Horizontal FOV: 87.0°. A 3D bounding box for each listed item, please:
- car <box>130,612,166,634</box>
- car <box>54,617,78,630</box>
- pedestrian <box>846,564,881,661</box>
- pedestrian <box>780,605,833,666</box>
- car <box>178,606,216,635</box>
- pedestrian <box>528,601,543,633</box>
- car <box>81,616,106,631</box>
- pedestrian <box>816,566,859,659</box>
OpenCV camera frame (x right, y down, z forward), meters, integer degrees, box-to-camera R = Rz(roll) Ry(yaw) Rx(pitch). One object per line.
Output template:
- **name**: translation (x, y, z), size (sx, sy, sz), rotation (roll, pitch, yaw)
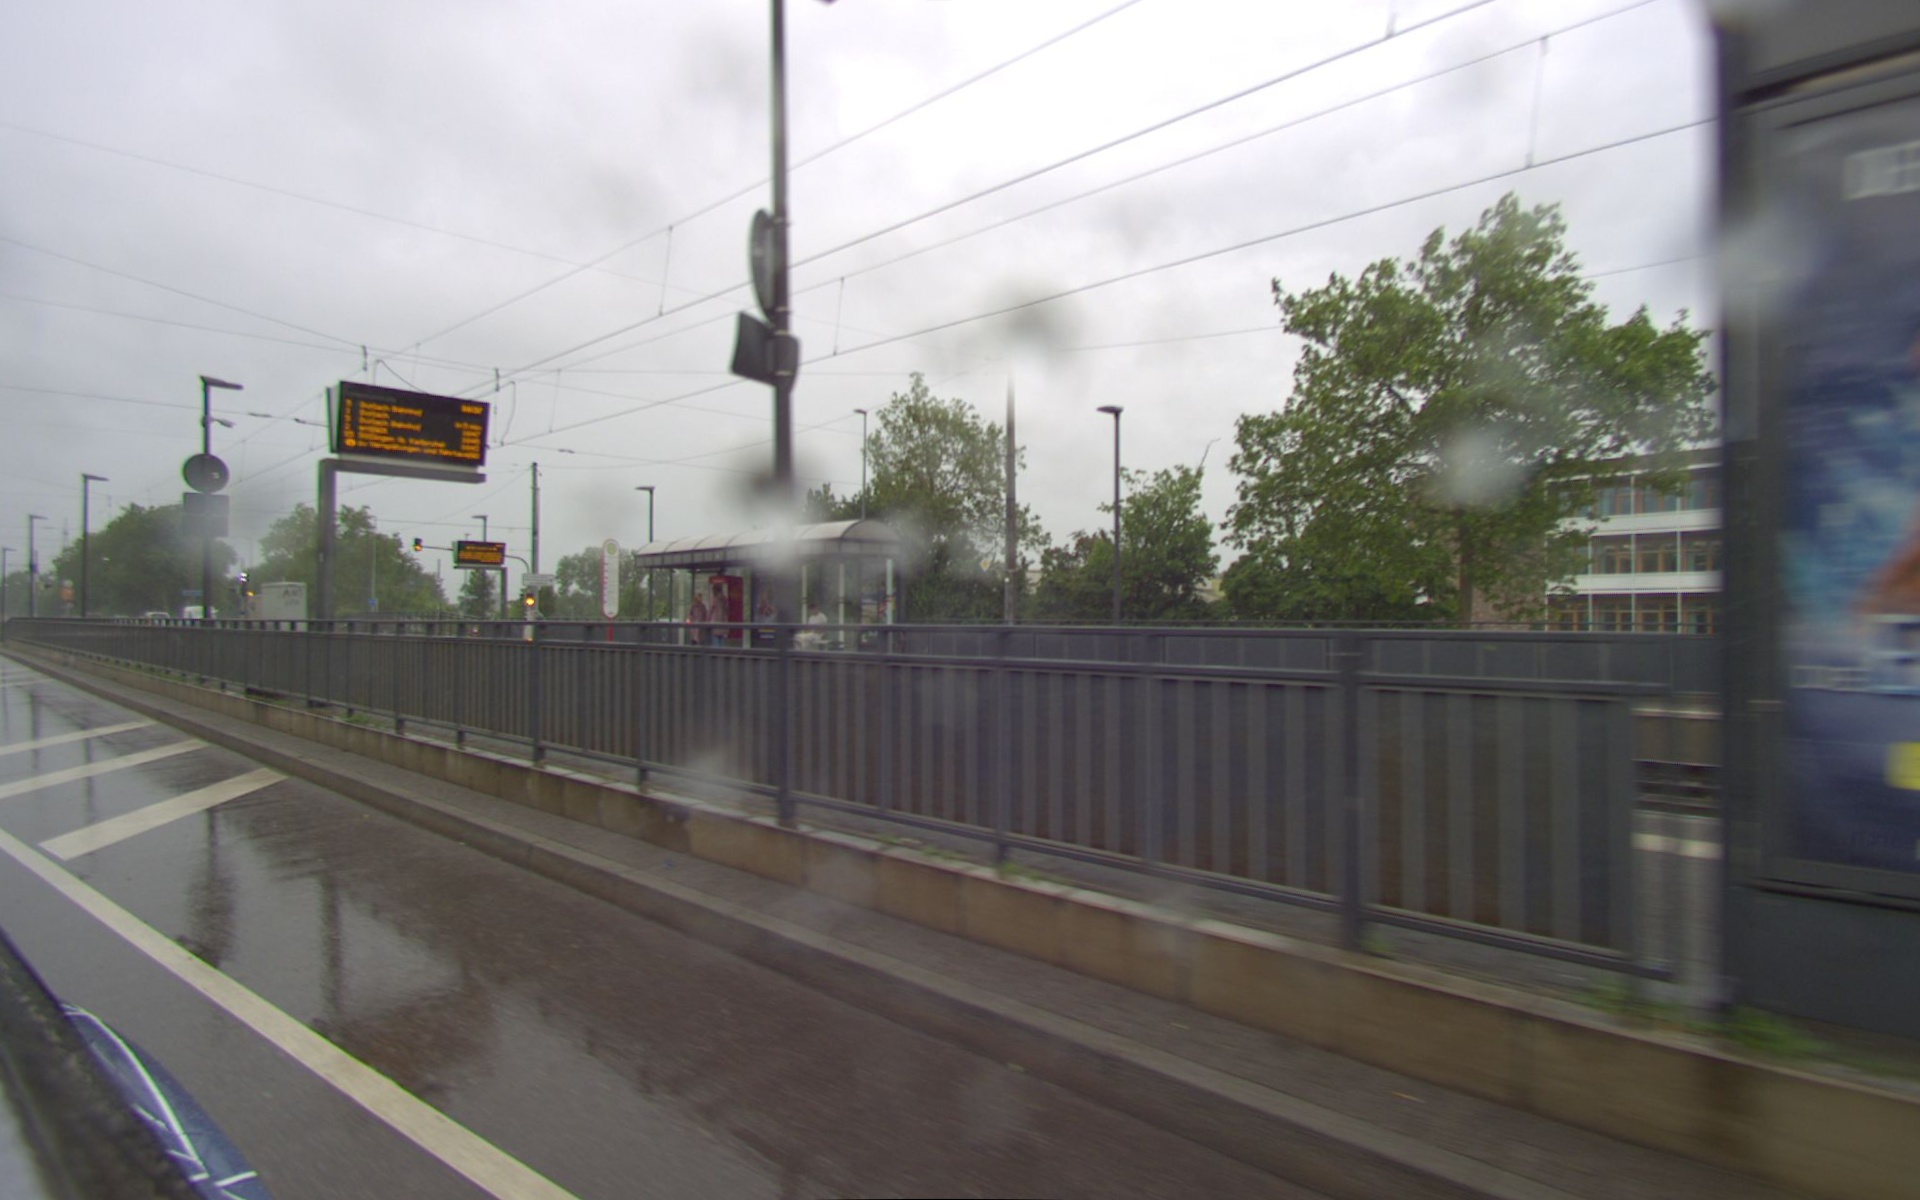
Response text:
- **car**: translation (-75.646, 2.144, 94.275), size (4.754, 2.029, 1.972), rotation (-1, -1, 43)
- **car**: translation (-121.715, 3.198, 137.800), size (4.382, 1.608, 1.971), rotation (-2, -5, 44)
- **pedestrian**: translation (-4.106, 0.531, 43.067), size (1.152, 4.059, 1.524), rotation (0, 0, -19)
- **pedestrian**: translation (-3.490, 0.794, 22.981), size (0.858, 1.326, 0.822), rotation (-1, 0, 43)
- **car**: translation (-74.923, 2.019, 99.311), size (5.739, 2.733, 2.096), rotation (-1, -1, 44)
- **pedestrian**: translation (-26.918, 1.095, 64.137), size (0.697, 2.029, 0.691), rotation (-1, -1, 44)
- **car**: translation (-106.926, 2.857, 124.828), size (4.259, 1.785, 1.971), rotation (-1, -1, 44)
- **pedestrian**: translation (-5.447, 0.546, 45.153), size (1.515, 4.059, 1.160), rotation (-1, 0, 32)
